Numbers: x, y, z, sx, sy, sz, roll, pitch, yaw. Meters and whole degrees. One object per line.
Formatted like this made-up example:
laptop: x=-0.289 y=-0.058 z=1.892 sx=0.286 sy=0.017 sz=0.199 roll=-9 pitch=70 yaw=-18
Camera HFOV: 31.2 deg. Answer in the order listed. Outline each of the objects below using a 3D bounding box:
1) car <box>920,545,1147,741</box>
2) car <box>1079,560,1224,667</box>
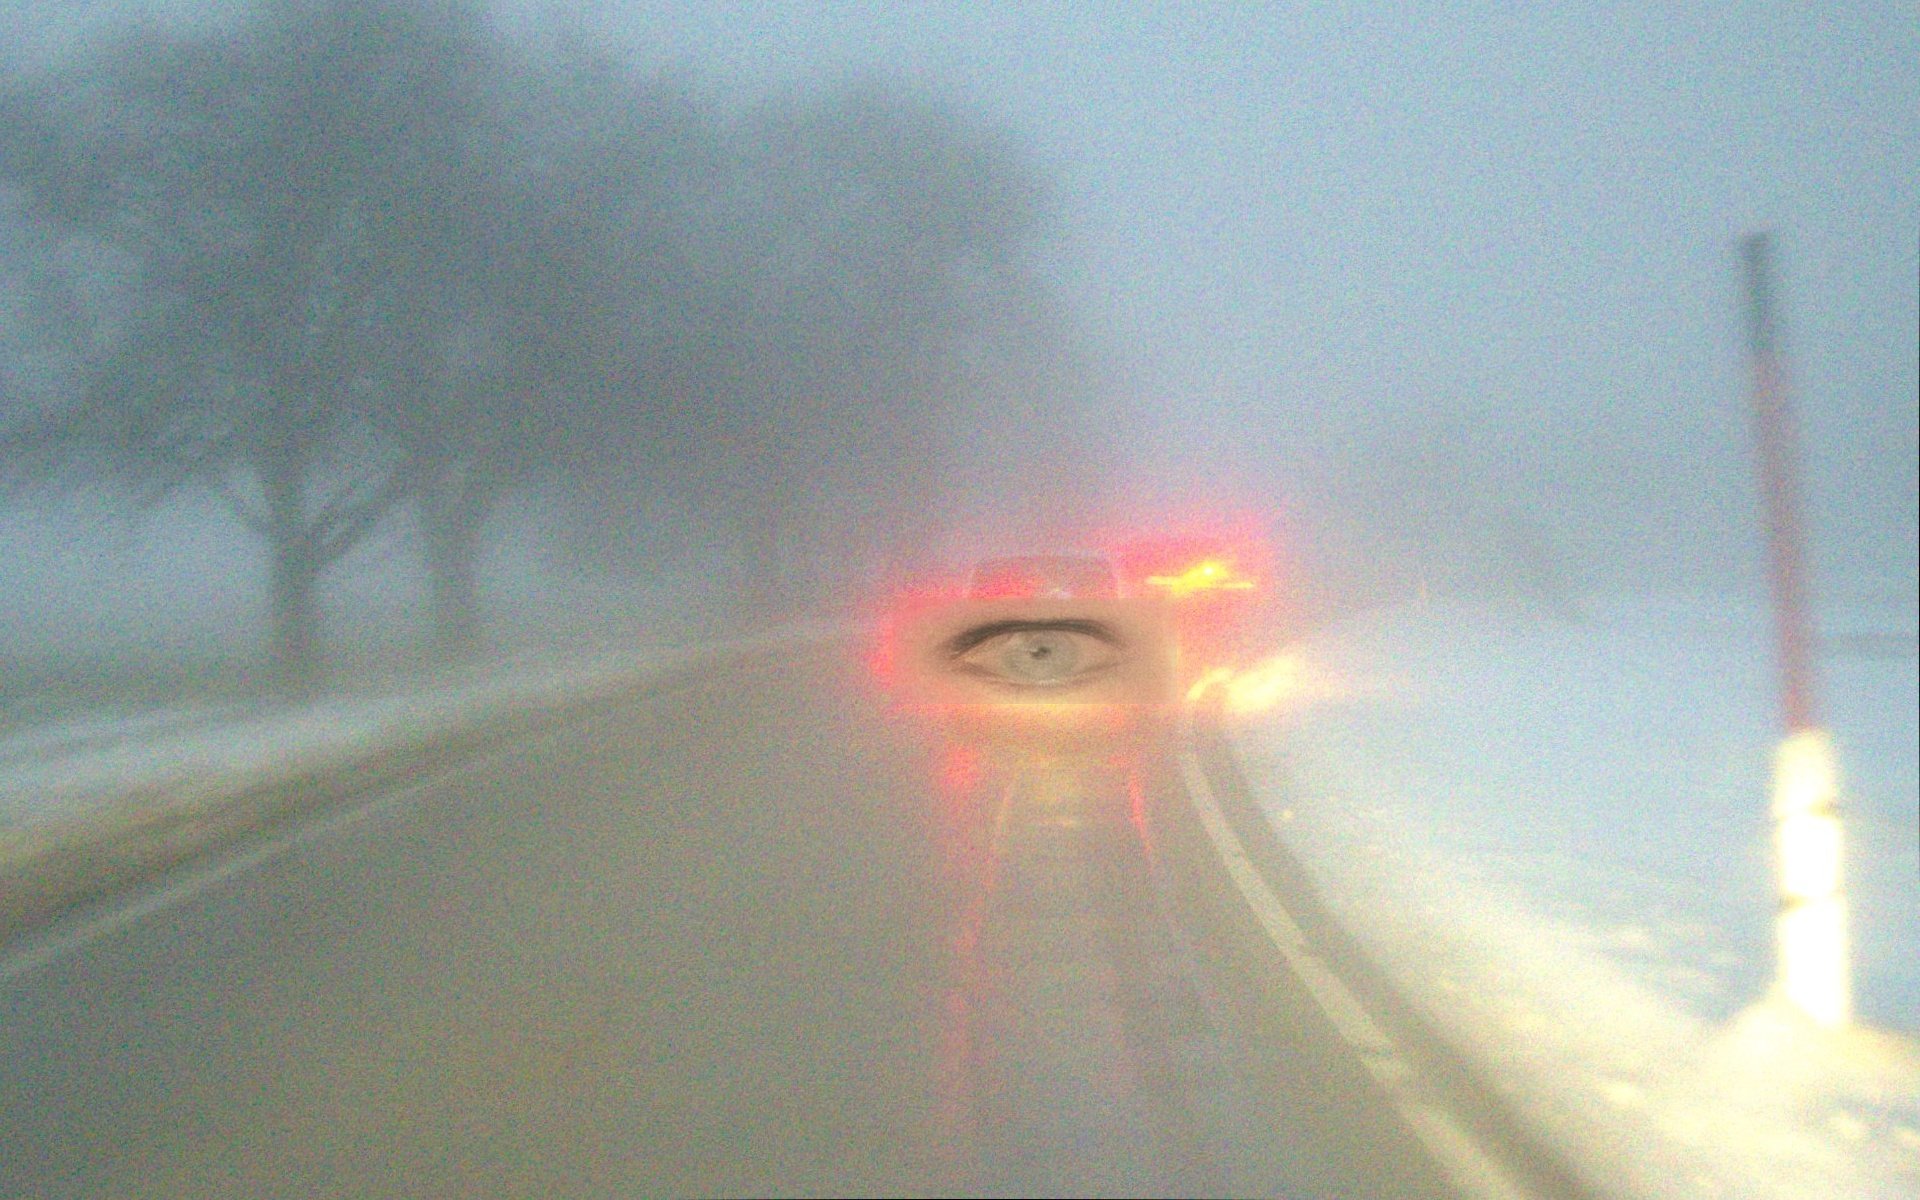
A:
car: x=0.608 y=0.295 z=27.978 sx=1.707 sy=1.458 sz=4.000 roll=0 pitch=1 yaw=1
car: x=2.864 y=0.183 z=51.000 sx=1.480 sy=1.503 sz=3.050 roll=-1 pitch=1 yaw=16
